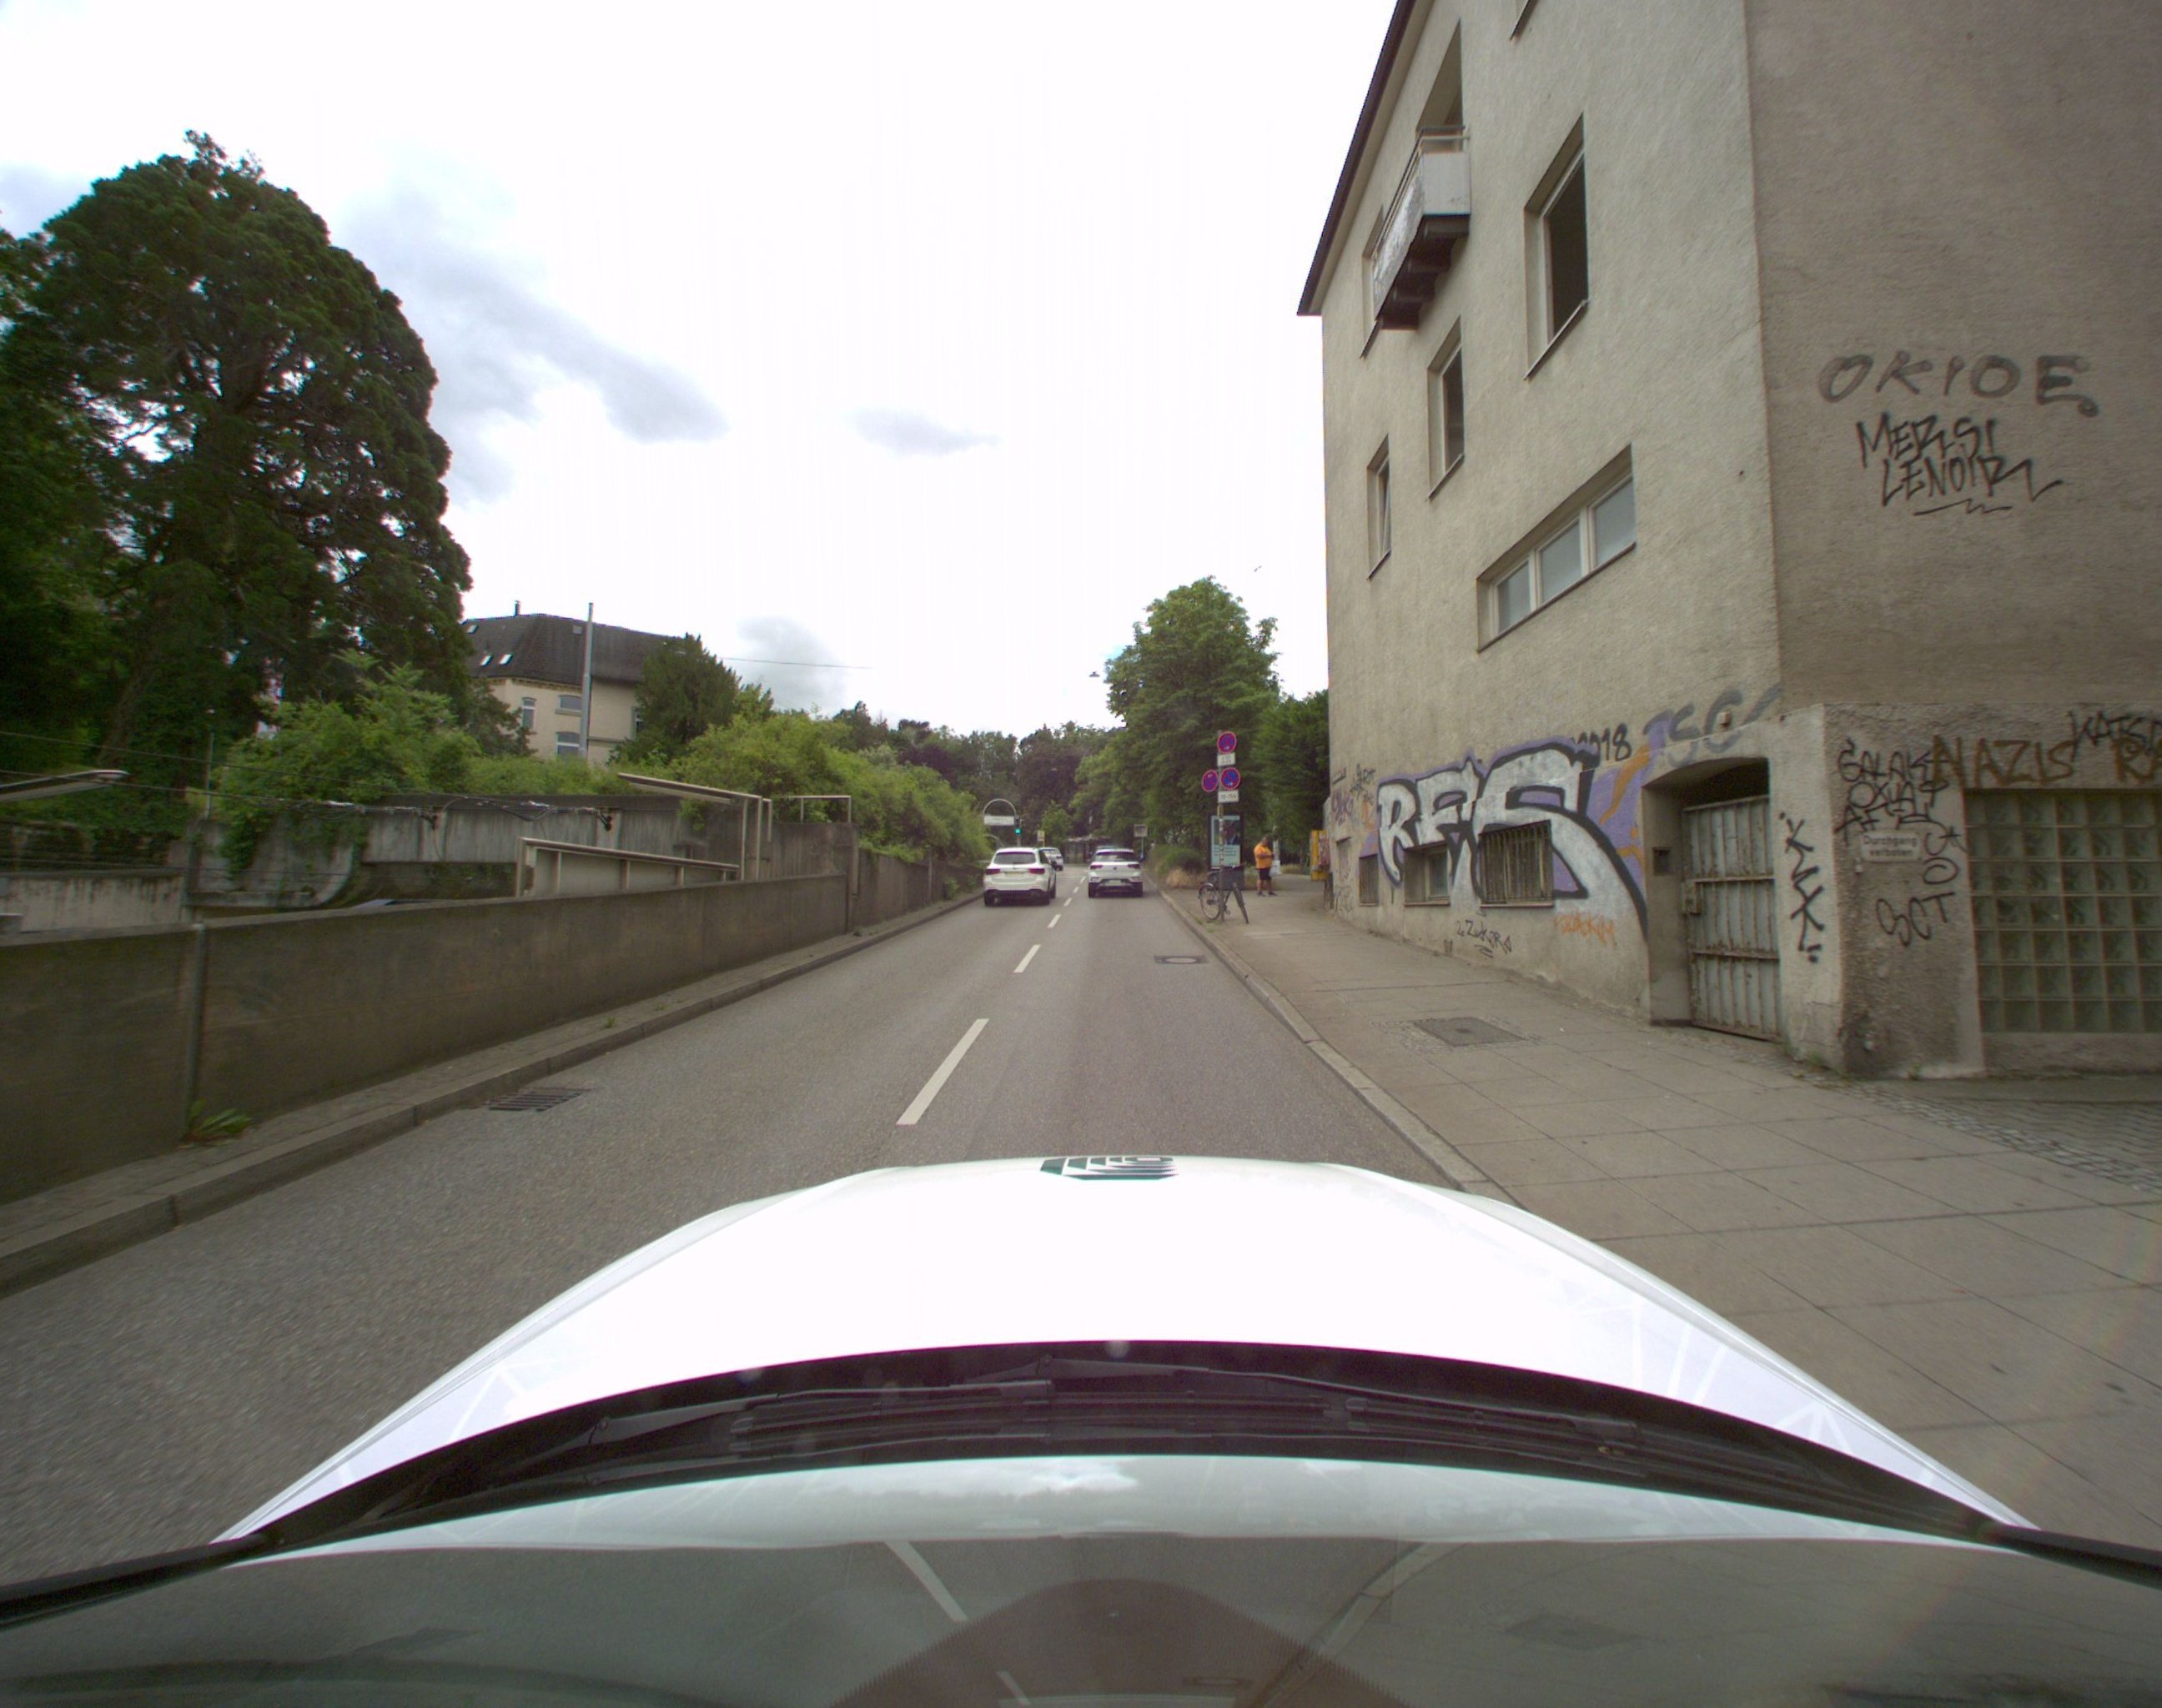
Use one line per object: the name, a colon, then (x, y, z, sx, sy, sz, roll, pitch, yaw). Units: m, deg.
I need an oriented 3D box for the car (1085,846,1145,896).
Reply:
car: (1.153, 0.534, 27.281, 1.857, 1.556, 3.897, 0, 0, 3)

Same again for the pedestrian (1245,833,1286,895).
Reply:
pedestrian: (5.235, 0.274, 23.106, 0.833, 1.712, 0.818, -1, 0, -12)

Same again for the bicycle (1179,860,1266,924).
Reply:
bicycle: (2.734, 0.707, 15.991, 0.641, 1.143, 2.049, -3, 1, -23)

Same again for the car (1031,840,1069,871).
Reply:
car: (-2.028, 0.076, 52.178, 1.993, 1.882, 3.988, 1, 0, -9)

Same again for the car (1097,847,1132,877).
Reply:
car: (1.841, 0.430, 45.371, 1.854, 1.632, 3.961, 0, 0, 2)

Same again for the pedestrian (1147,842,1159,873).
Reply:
pedestrian: (4.140, 0.195, 46.691, 0.611, 1.712, 0.728, -2, 0, 6)

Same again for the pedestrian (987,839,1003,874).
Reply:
pedestrian: (-4.595, 0.107, 43.578, 0.701, 1.861, 0.616, 0, 0, 8)

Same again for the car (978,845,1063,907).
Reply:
car: (-1.705, 0.592, 24.394, 1.869, 1.652, 4.346, -2, 0, 4)

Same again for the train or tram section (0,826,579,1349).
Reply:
train or tram section: (-8.755, 1.570, 5.057, 2.939, 3.509, 12.987, -1, -2, 1)
